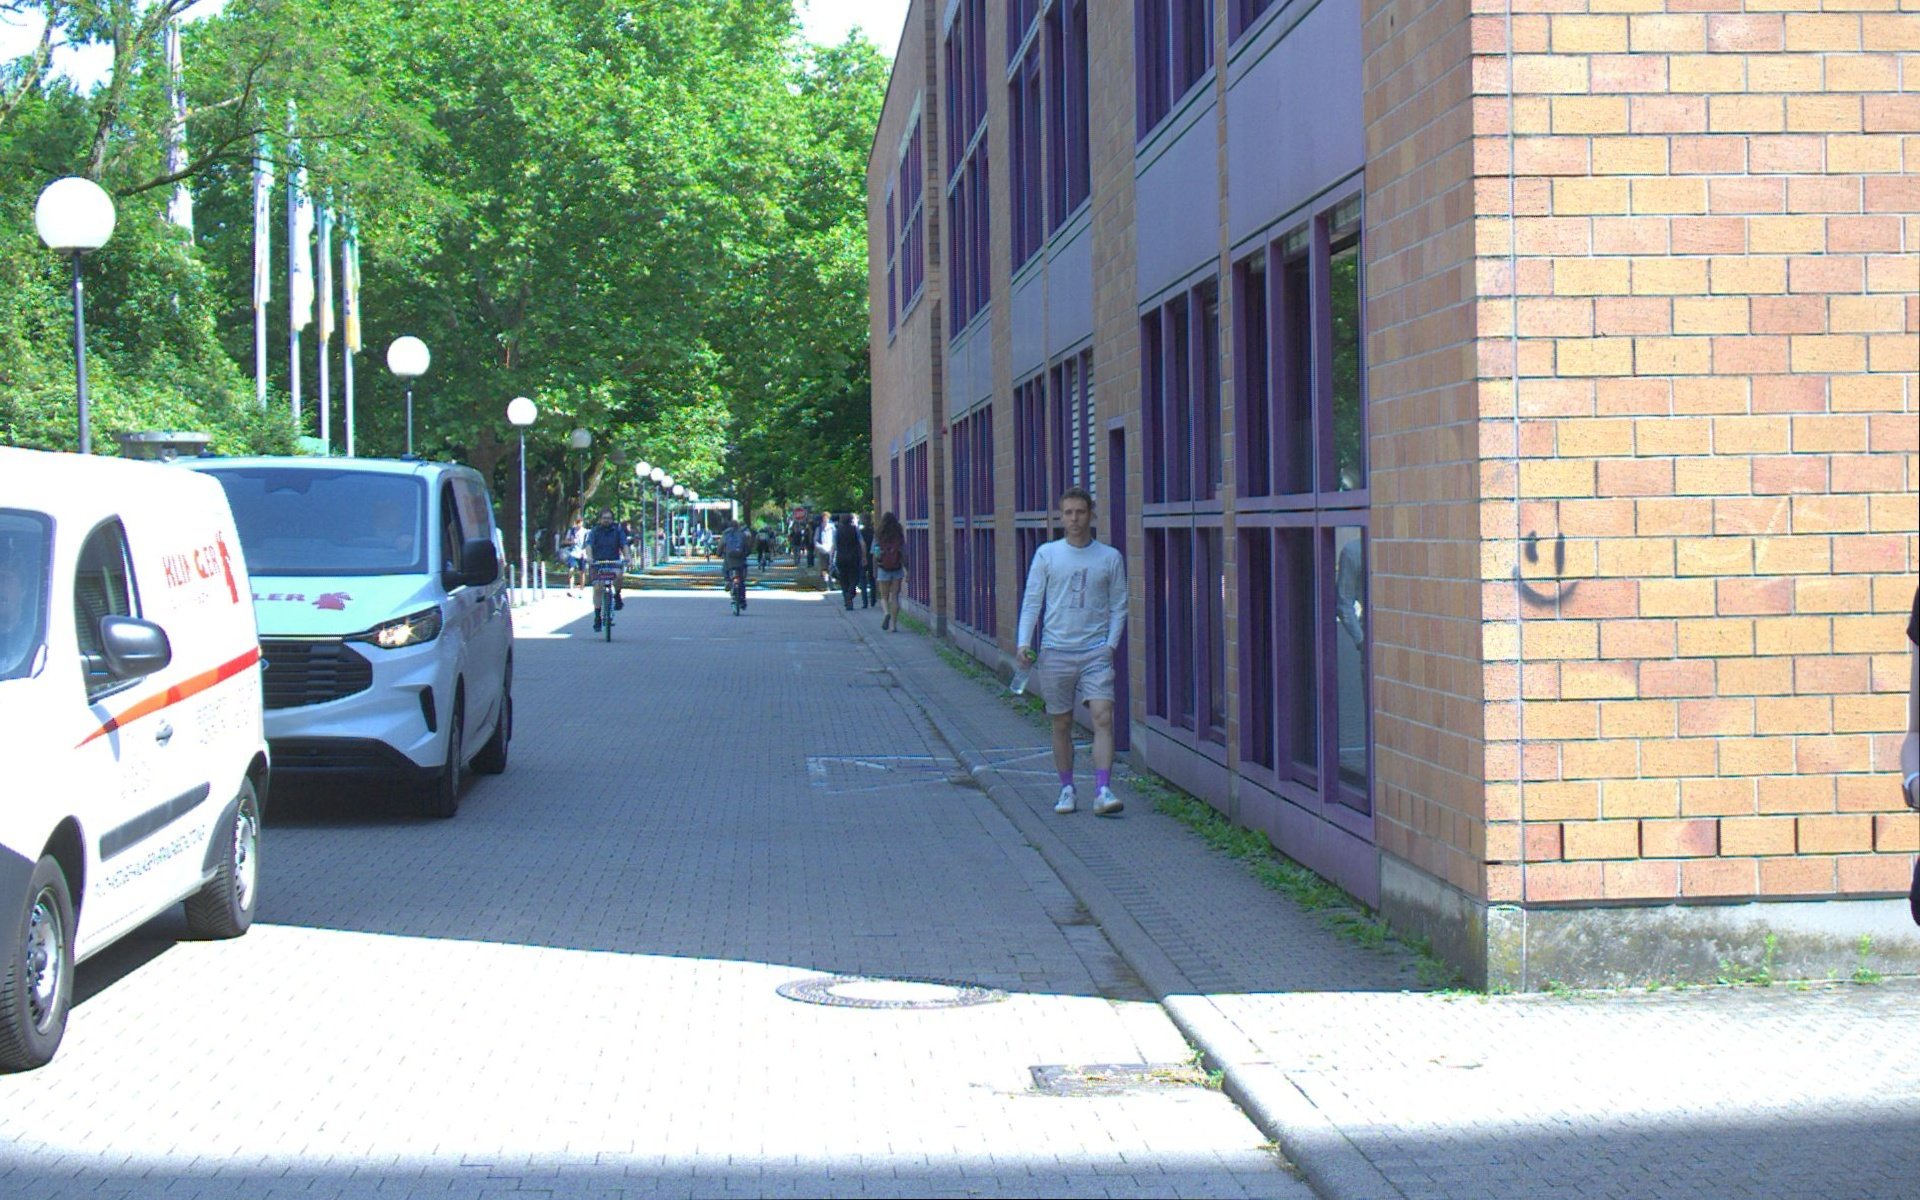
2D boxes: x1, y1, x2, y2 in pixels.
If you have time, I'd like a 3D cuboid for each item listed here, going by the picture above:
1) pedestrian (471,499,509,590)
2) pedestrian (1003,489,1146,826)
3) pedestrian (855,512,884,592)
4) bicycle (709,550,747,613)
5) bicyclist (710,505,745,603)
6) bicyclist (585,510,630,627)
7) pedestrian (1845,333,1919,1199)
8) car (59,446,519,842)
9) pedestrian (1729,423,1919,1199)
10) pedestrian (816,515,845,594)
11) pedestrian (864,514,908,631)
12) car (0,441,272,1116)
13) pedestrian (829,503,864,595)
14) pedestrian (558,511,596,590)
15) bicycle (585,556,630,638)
[{"bbox_3d":[-8.732,-1.025,63.929,0.586,1.667,0.699,-2,0,-2],"label":"pedestrian"},{"bbox_3d":[0.598,0.298,18.200,0.682,1.741,0.783,0,0,-3],"label":"pedestrian"},{"bbox_3d":[-2.210,-1.165,84.111,0.653,1.916,0.817,-2,0,-2],"label":"pedestrian"},{"bbox_3d":[-4.076,-0.339,60.296,0.587,1.080,1.908,0,1,-6],"label":"bicycle"},{"bbox_3d":[-4.081,-0.808,60.303,0.587,1.710,0.665,0,1,-6],"label":"bicyclist"},{"bbox_3d":[-4.791,-0.433,46.685,0.587,1.567,0.829,0,1,-6],"label":"bicyclist"},{"bbox_3d":[1.821,0.494,5.256,0.767,1.788,0.588,-2,0,5],"label":"pedestrian"},{"bbox_3d":[-3.677,0.163,19.759,1.883,1.967,5.215,0,1,-3],"label":"car"},{"bbox_3d":[1.739,0.539,5.901,0.696,1.667,0.588,-2,0,5],"label":"pedestrian"},{"bbox_3d":[-3.155,-1.105,84.067,0.653,1.916,0.817,-2,0,-2],"label":"pedestrian"},{"bbox_3d":[-1.075,-0.395,49.829,0.586,1.667,0.699,-2,0,-2],"label":"pedestrian"},{"bbox_3d":[-3.479,0.428,11.007,1.790,1.755,4.482,-1,1,-2],"label":"car"},{"bbox_3d":[-2.094,-0.937,63.381,0.586,1.667,0.817,-2,0,-2],"label":"pedestrian"},{"bbox_3d":[-8.250,-1.070,74.076,0.725,1.667,0.748,-2,0,-2],"label":"pedestrian"},{"bbox_3d":[-4.794,-0.051,46.723,0.587,1.080,1.814,0,1,-6],"label":"bicycle"}]
